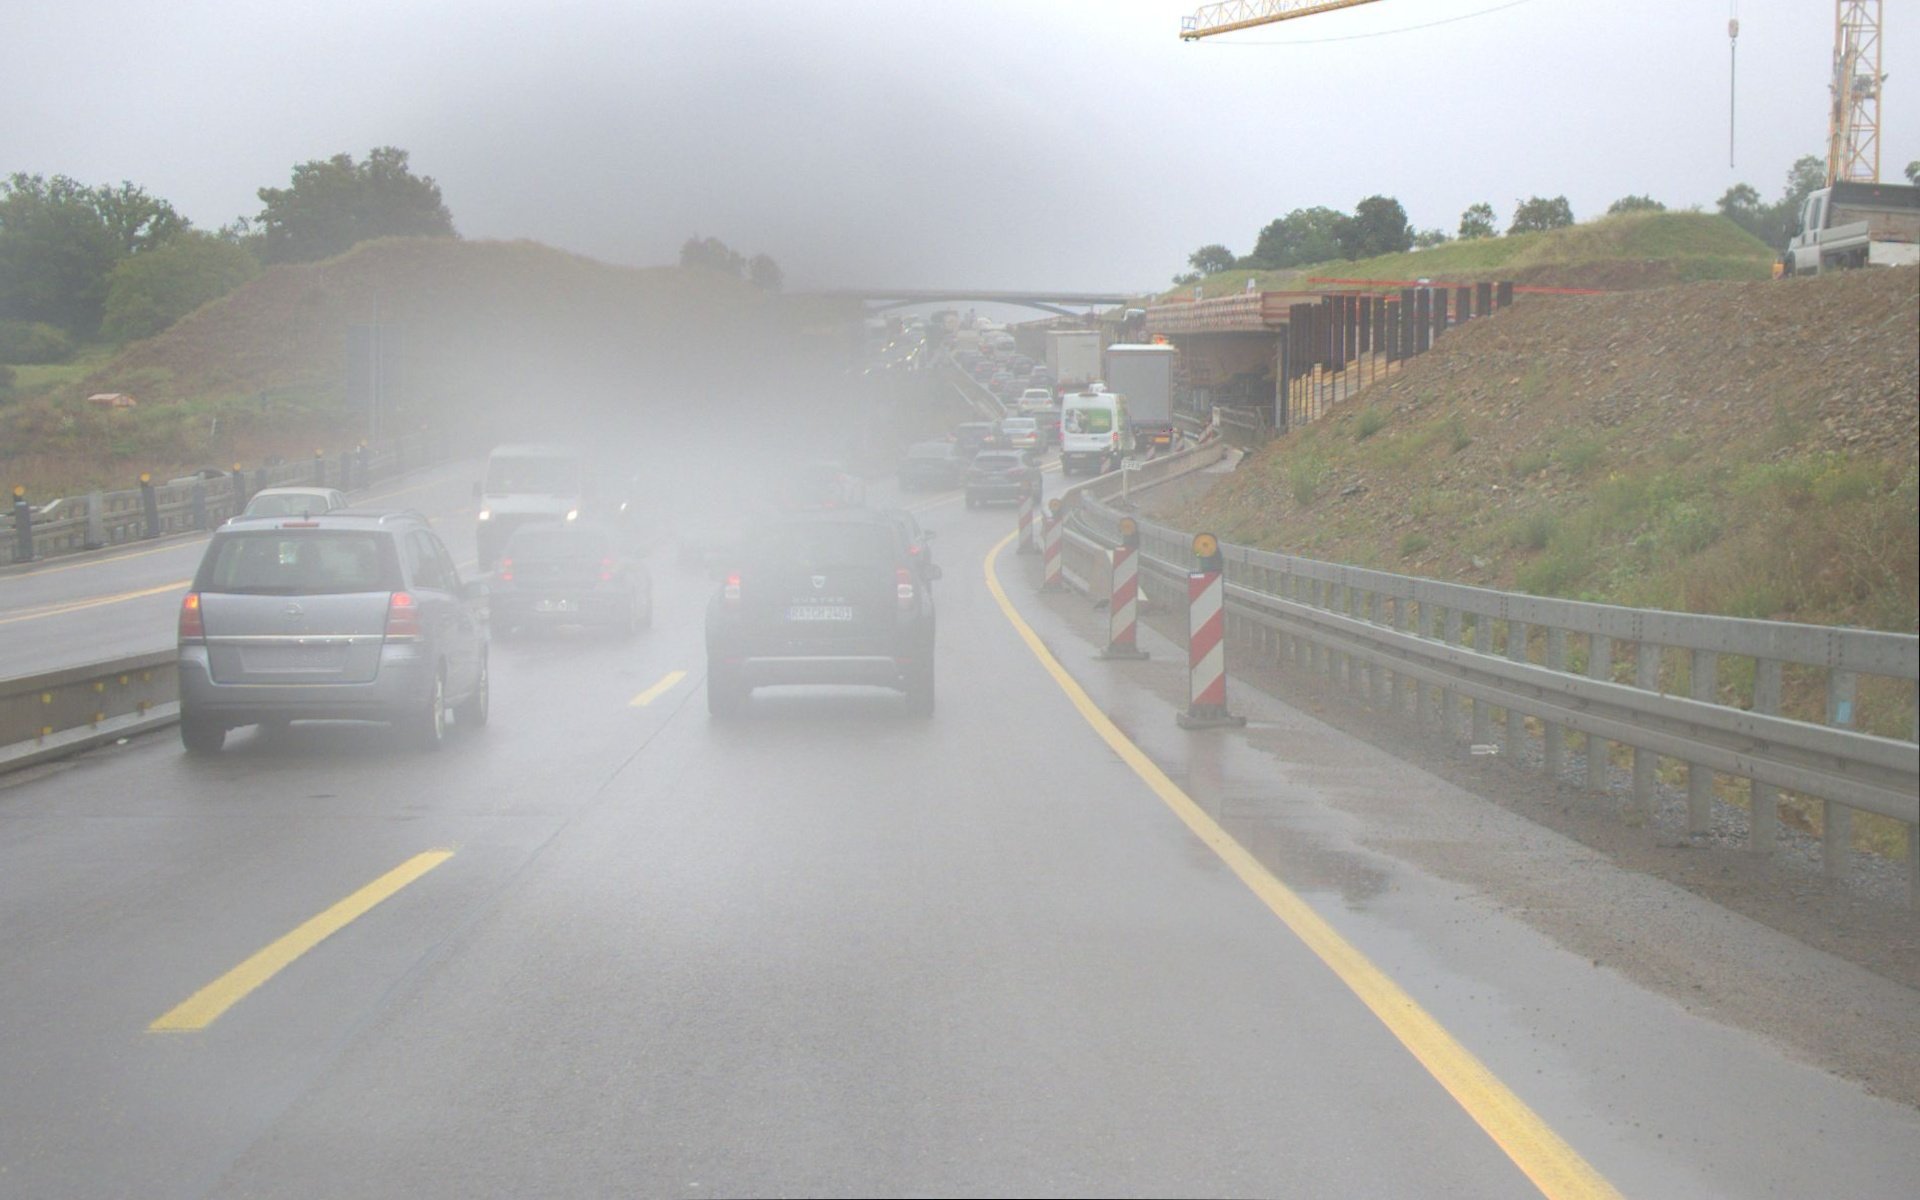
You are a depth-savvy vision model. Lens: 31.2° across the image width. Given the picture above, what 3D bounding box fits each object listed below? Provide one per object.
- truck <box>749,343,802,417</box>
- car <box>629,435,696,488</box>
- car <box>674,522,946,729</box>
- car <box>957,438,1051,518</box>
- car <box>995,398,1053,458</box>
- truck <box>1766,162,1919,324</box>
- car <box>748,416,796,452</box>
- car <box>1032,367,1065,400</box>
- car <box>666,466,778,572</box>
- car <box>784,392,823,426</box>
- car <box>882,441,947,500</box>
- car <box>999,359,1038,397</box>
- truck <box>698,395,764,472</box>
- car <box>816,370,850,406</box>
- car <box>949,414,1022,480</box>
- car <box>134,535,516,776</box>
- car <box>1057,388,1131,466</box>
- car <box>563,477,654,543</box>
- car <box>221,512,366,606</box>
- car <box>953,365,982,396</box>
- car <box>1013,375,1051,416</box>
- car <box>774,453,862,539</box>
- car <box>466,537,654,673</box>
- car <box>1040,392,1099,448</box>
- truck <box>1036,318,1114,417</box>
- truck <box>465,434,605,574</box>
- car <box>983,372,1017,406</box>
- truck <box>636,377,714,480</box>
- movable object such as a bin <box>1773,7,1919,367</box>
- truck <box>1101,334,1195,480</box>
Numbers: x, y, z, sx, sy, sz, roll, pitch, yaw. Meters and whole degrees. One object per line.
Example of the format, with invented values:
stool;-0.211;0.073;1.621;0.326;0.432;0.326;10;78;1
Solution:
truck;-12.478;-14.889;233.431;3.083;4.902;8.565;1;3;0
car;-8.762;-4.081;101.357;1.676;1.518;4.346;0;2;-1
car;-1.157;0.163;28.460;2.081;1.595;4.141;0;1;0
car;1.251;-3.378;96.057;1.994;2.155;4.139;0;1;10
car;2.462;-6.569;131.511;1.994;2.155;4.140;0;1;4
truck;17.978;-6.895;67.218;2.645;2.546;6.985;0;1;-1
car;-7.688;-6.803;140.835;1.868;1.466;4.672;0;3;-2
car;5.985;-14.677;233.150;1.993;2.007;4.000;0;1;-2
car;-4.600;-1.558;66.883;1.993;2.007;3.894;0;1;-1
car;-7.866;-9.614;173.232;1.737;1.678;5.553;1;3;-1
car;-1.405;-4.039;107.740;1.993;1.755;3.815;0;1;0
car;3.226;-12.254;189.721;1.993;2.006;4.001;-1;3;-1
truck;-8.238;-6.010;124.162;2.147;2.704;6.017;0;2;-1
car;-7.141;-11.938;193.550;1.785;1.803;4.500;0;1;-1
car;0.919;-5.326;120.040;1.994;2.155;4.139;0;1;9
car;-4.465;0.336;24.805;1.993;1.595;4.141;0;1;0
car;4.601;-5.879;117.645;1.994;2.475;4.980;0;1;8
car;-8.405;-2.168;82.513;1.787;1.533;4.312;0;2;-1
car;-11.370;-0.730;58.873;1.788;1.541;4.001;0;2;-1
car;0.571;-16.007;250.880;1.993;2.007;4.000;0;1;-2
car;3.641;-10.363;174.206;1.849;1.887;4.021;0;1;0
car;-3.625;-2.654;88.635;1.993;2.155;4.140;0;1;2
car;-4.865;0.027;42.315;1.993;1.595;4.141;0;1;-2
car;4.551;-7.417;141.960;1.994;2.155;4.139;0;1;8
truck;6.552;-13.297;198.111;3.803;5.025;12.923;0;1;-1
truck;-8.123;-1.808;66.212;2.078;2.567;5.962;0;1;-1
car;2.471;-13.075;213.231;1.993;2.006;4.001;-1;3;-1
truck;-11.340;-6.899;137.576;2.641;3.956;9.215;0;3;-2
movable object such as a bin;29.548;-13.455;114.470;4.721;10.804;10.297;0;1;14
truck;7.550;-7.600;136.975;3.102;5.407;9.441;0;1;7
